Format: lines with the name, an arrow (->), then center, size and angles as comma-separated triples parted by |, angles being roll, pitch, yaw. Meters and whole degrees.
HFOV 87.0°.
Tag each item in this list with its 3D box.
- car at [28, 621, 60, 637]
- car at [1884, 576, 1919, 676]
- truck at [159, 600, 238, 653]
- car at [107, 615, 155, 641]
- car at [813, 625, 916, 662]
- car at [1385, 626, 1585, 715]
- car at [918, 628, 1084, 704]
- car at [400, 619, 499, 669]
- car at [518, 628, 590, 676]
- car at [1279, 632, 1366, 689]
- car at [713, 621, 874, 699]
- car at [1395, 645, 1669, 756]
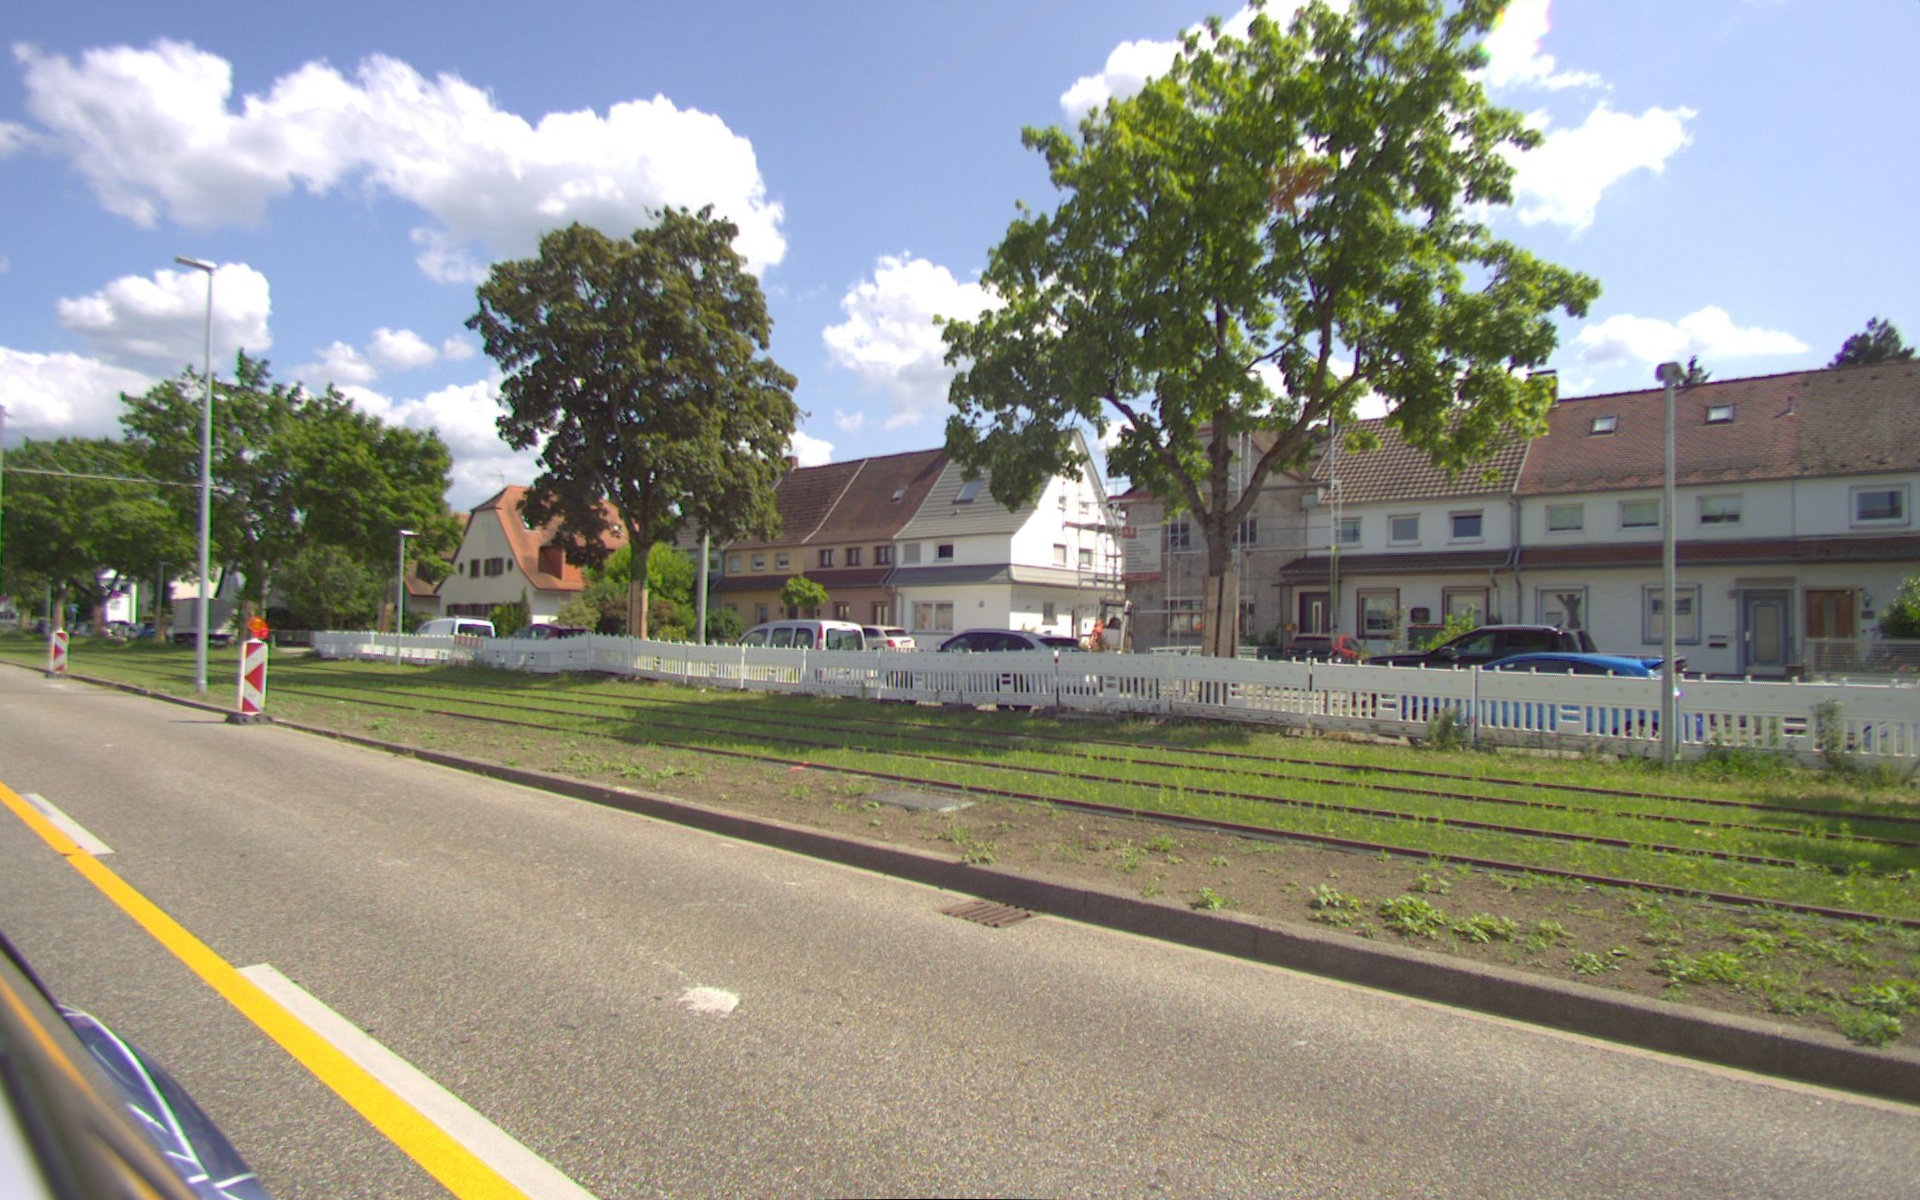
car -> -80.933, 2.582, 89.443 | 3.997, 1.311, 1.616 | 0, 0, 41
car -> 21.190, 0.522, 20.160 | 3.997, 2.029, 1.973 | 0, 0, 40
truck -> -42.947, 1.430, 57.024 | 5.947, 2.826, 2.341 | 0, 0, 41
car -> -51.635, 1.691, 63.012 | 3.928, 1.524, 1.651 | 0, 0, 40
car -> -3.742, 1.687, 39.387 | 4.117, 1.285, 1.518 | 0, -3, 40
car -> 9.711, 1.262, 18.820 | 3.091, 1.506, 1.342 | -1, -3, 40
car -> 0.769, 1.276, 19.937 | 3.112, 1.388, 1.336 | -2, -4, 40
car -> -18.063, 1.536, 35.726 | 3.998, 1.638, 1.636 | 0, -3, 40
car -> -12.220, 1.555, 30.443 | 2.449, 1.358, 1.060 | -1, -3, 44
car -> 10.004, 1.631, 27.870 | 1.285, 1.390, 2.776 | 0, 0, 43
car -> -3.997, 1.377, 24.026 | 3.896, 1.664, 1.606 | 0, -3, 40
car -> 7.888, 1.318, 14.075 | 3.166, 1.335, 1.327 | -1, -3, 38
